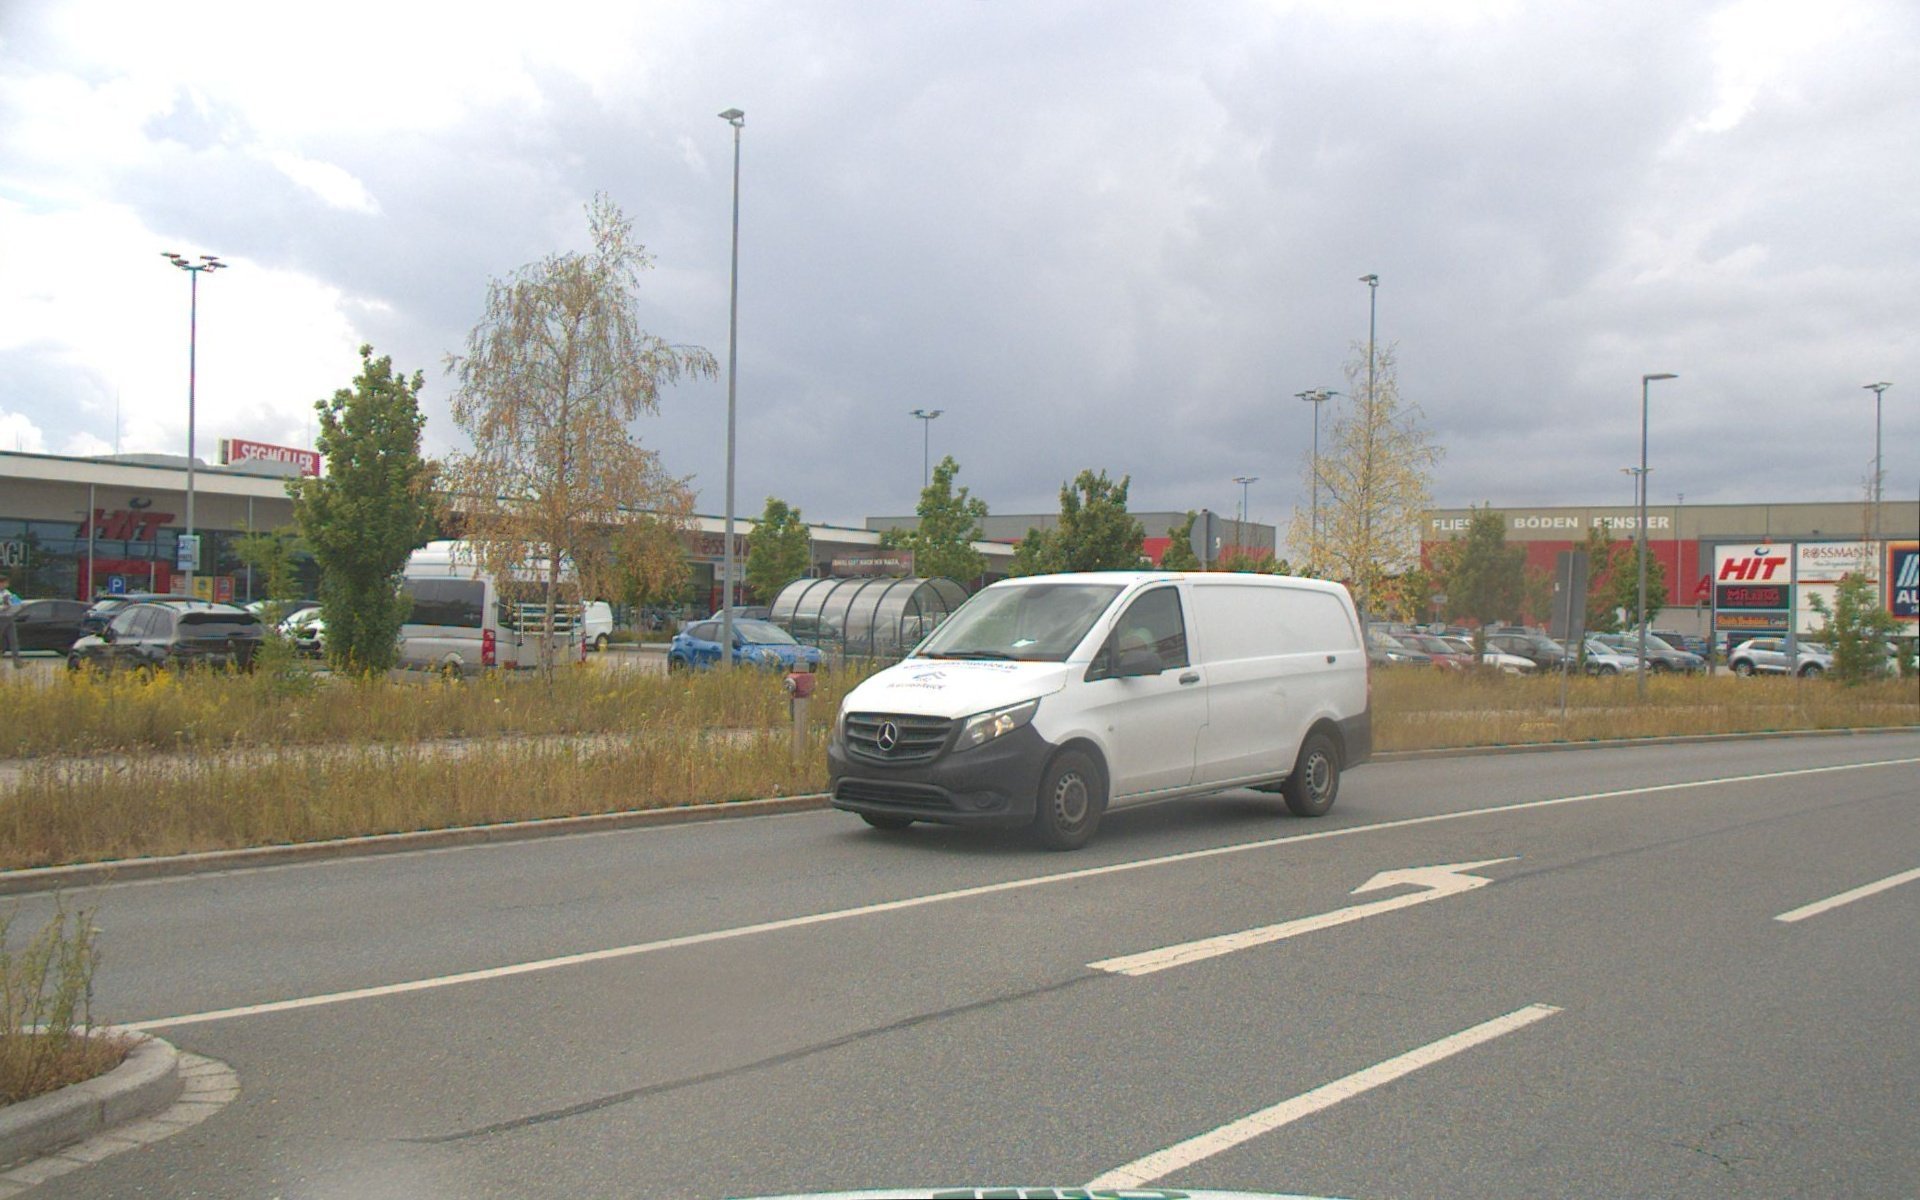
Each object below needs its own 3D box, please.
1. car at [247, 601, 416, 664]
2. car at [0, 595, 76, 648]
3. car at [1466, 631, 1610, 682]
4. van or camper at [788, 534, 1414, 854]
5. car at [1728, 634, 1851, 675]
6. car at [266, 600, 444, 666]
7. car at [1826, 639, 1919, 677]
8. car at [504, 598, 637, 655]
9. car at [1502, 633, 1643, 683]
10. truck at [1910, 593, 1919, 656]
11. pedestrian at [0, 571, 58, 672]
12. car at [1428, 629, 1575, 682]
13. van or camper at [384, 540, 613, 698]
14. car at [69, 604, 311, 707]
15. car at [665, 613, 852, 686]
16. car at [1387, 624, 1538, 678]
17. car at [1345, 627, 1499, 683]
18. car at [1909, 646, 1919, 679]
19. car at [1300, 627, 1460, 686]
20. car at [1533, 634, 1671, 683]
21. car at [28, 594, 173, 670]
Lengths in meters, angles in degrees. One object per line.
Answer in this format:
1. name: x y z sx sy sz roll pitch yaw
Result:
1. car: -17.553 0.923 46.314 1.965 1.646 3.975 1 -1 42
2. car: -28.621 0.607 48.797 1.960 1.534 3.985 1 -1 35
3. car: 17.767 1.728 50.939 1.899 1.414 3.754 2 -1 -43
4. van or camper: 1.304 0.637 12.633 1.966 1.945 5.168 0 -1 43
5. car: 31.311 2.059 62.497 1.725 1.453 3.788 3 -2 -39
6. car: -16.074 0.898 44.072 1.965 1.646 3.975 1 -1 42
7. car: 37.718 2.366 67.360 1.984 1.467 3.937 3 -2 -43
8. car: -13.587 0.958 57.867 1.957 1.851 4.417 0 -2 32
9. car: 19.413 1.816 52.496 1.899 1.414 3.754 2 -1 -43
10. truck: 49.265 1.275 78.426 8.032 2.997 2.665 2 -1 -19
11. pedestrian: -19.256 0.442 33.967 0.852 2.049 0.997 1 -2 42
12. car: 16.138 1.640 49.383 1.899 1.414 3.754 2 -1 -43
13. van or camper: -8.066 0.355 28.744 2.271 2.536 3.938 3 -2 -42
14. car: -12.091 0.838 25.874 4.076 1.476 1.983 0 -2 42
15. car: -4.227 1.004 34.251 1.795 1.409 4.085 3 -2 -42
16. car: 14.520 1.450 47.866 1.899 1.414 3.754 2 -1 -43
17. car: 12.917 1.524 46.359 1.899 1.414 3.754 2 -1 -43
18. car: 43.393 2.769 71.700 3.765 1.453 1.736 1 -1 35
19. car: 11.311 1.498 44.669 1.899 1.414 3.754 2 -1 -43
20. car: 20.932 1.895 53.990 1.899 1.414 3.754 2 -1 -43
21. car: -20.372 0.738 39.144 3.930 1.682 1.808 1 -1 43
